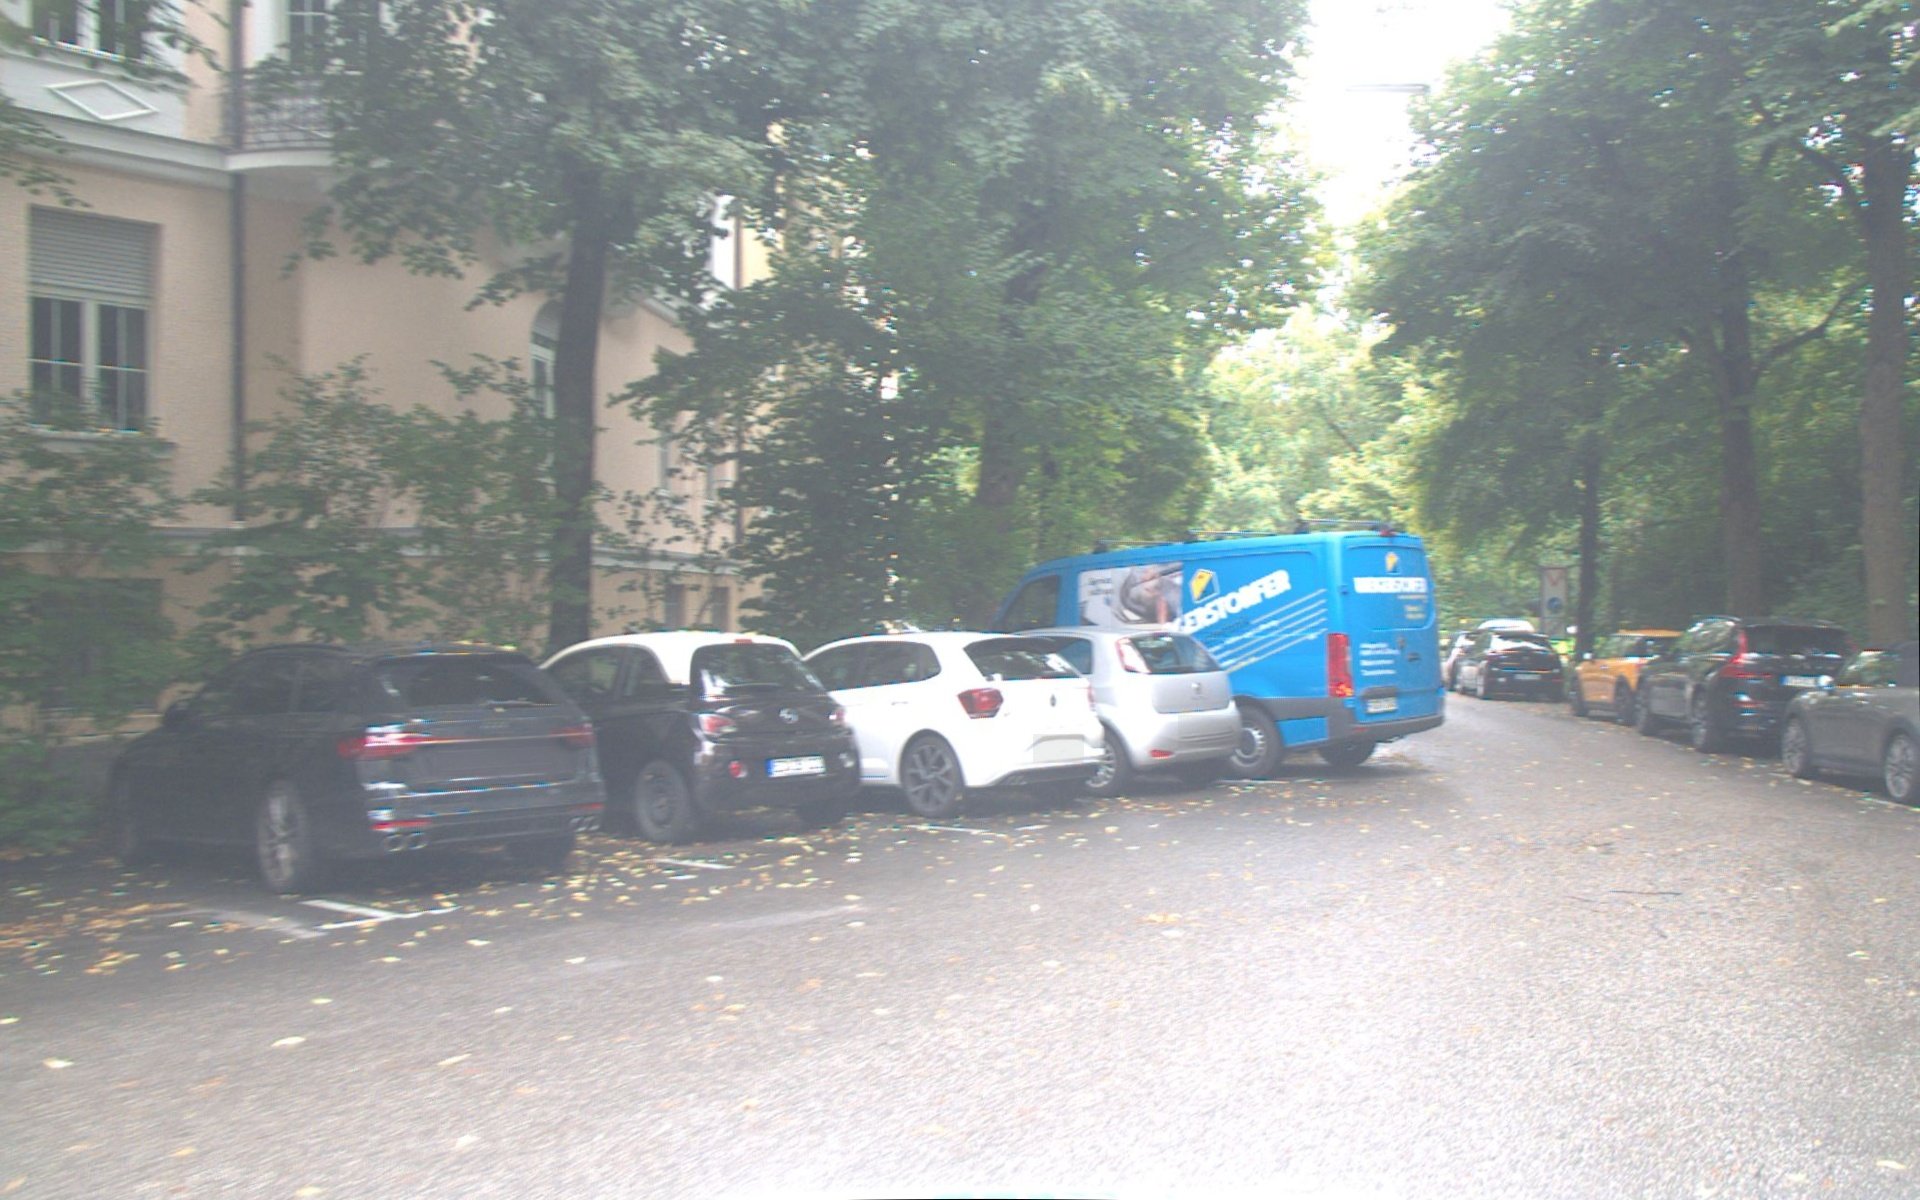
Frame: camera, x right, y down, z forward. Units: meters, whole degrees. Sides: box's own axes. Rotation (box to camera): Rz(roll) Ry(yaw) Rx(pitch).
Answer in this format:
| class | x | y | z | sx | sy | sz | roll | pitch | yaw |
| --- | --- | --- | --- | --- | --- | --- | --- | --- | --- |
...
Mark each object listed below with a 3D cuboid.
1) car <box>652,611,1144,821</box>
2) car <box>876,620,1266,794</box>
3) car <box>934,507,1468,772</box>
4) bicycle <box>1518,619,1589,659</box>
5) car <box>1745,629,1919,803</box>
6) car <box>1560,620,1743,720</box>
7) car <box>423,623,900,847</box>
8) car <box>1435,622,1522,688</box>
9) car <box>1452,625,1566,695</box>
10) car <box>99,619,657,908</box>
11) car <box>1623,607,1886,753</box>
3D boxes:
| class | x | y | z | sx | sy | sz | roll | pitch | yaw |
| --- | --- | --- | --- | --- | --- | --- | --- | --- | --- |
| car | -0.661 | 1.030 | 14.402 | 4.211 | 1.540 | 1.792 | -6 | -4 | 43 |
| car | 0.978 | 0.975 | 15.777 | 3.494 | 1.458 | 1.632 | -3 | -2 | 45 |
| car | 2.368 | 0.498 | 17.577 | 5.402 | 2.396 | 2.051 | -4 | -3 | 44 |
| bicycle | 15.442 | 1.019 | 43.030 | 1.715 | 0.999 | 0.273 | -1 | -1 | 18 |
| car | 9.424 | 1.027 | 16.172 | 1.858 | 1.438 | 4.433 | -2 | -1 | 8 |
| car | 10.840 | 1.054 | 26.187 | 1.584 | 1.437 | 3.782 | 0 | 0 | 5 |
| car | -2.418 | 1.042 | 12.853 | 3.686 | 1.450 | 1.821 | -6 | -4 | 44 |
| car | 12.544 | 1.307 | 40.202 | 1.612 | 1.500 | 3.646 | 0 | -1 | 11 |
| car | 11.872 | 1.256 | 35.996 | 1.646 | 1.382 | 4.012 | 0 | 0 | 8 |
| car | -3.882 | 0.952 | 10.615 | 1.850 | 1.450 | 4.095 | 0 | -3 | -44 |
| car | 10.007 | 0.925 | 21.229 | 1.792 | 1.657 | 4.529 | 0 | 0 | 9 |
